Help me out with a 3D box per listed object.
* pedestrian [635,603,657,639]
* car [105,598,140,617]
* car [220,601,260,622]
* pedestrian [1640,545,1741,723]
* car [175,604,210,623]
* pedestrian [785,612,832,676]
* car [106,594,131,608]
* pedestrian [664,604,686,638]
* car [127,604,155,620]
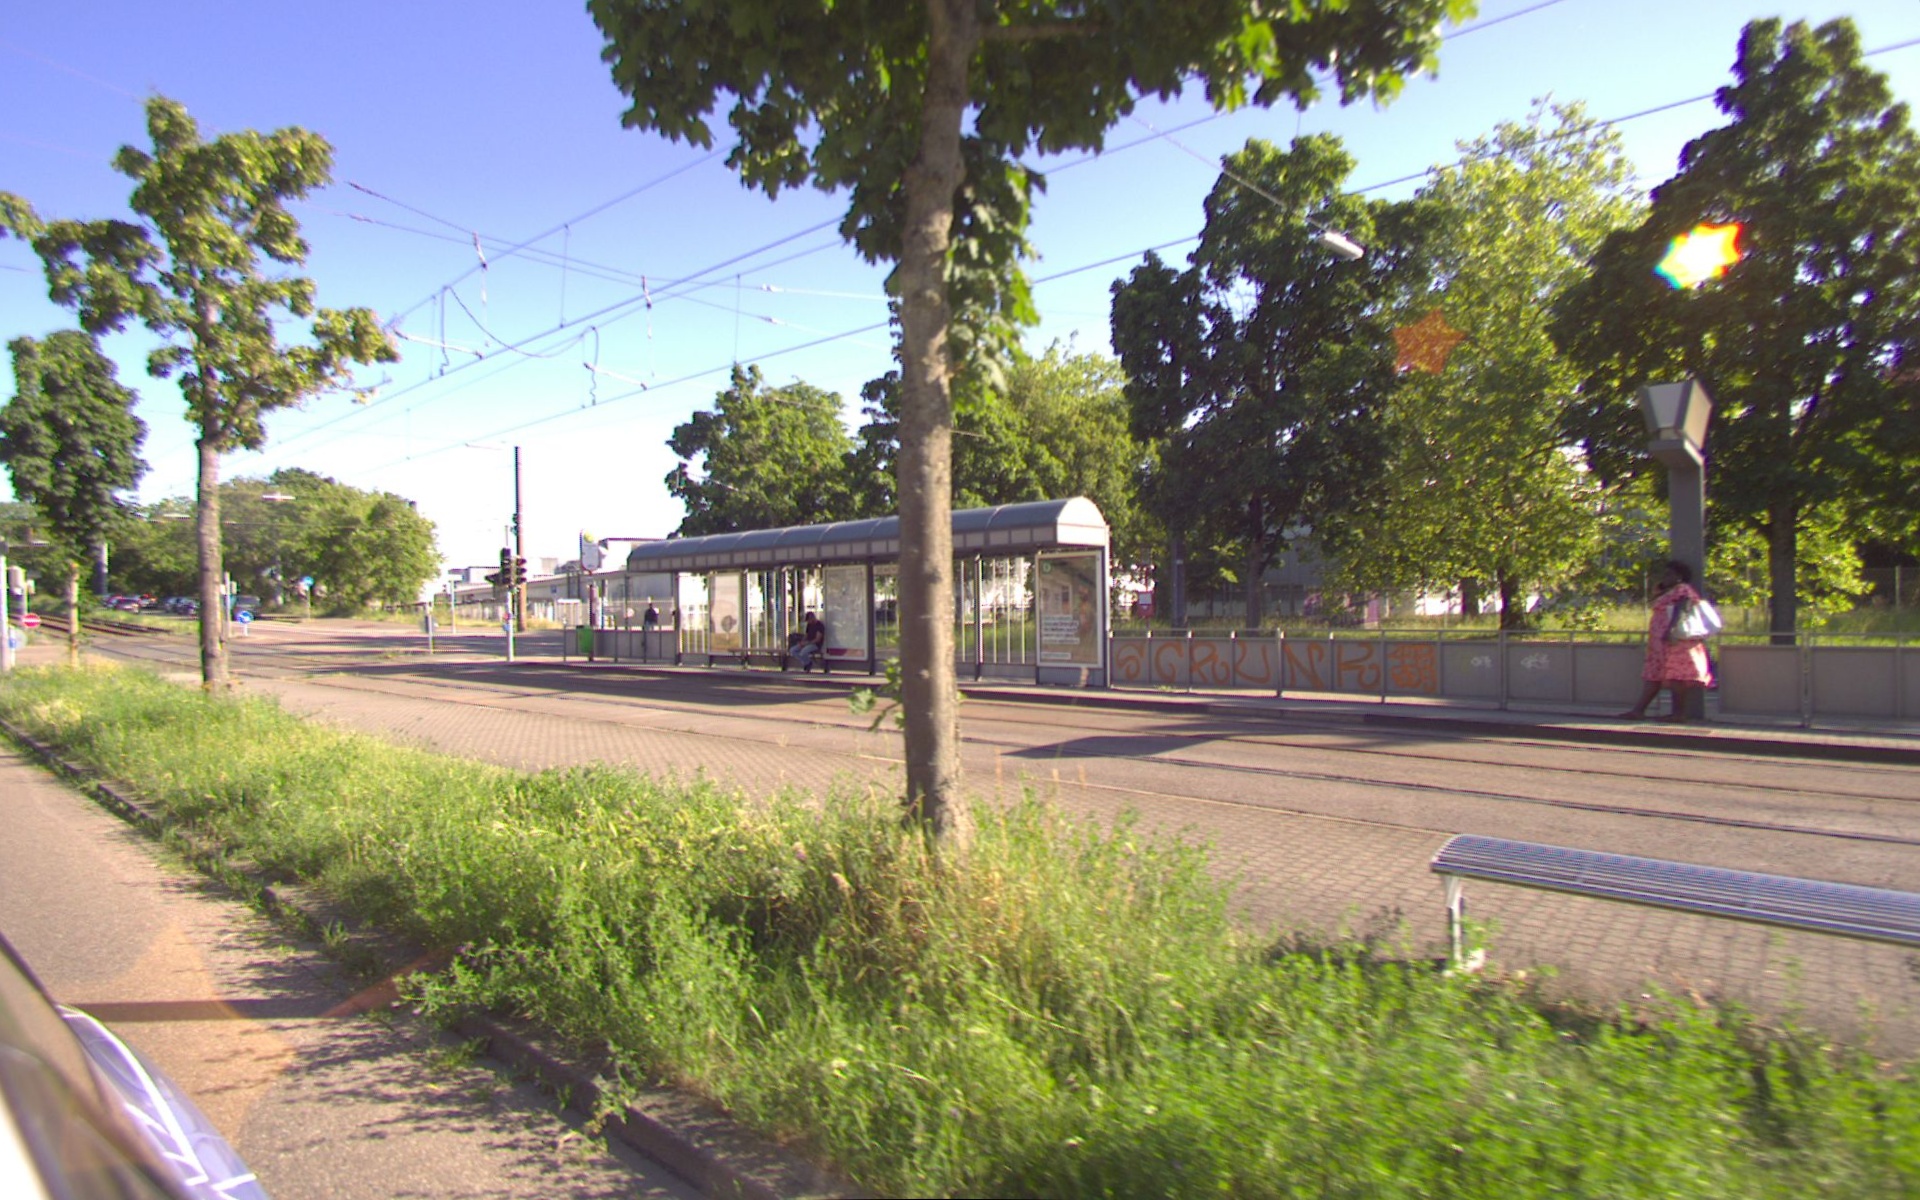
[{"bbox_3d":[-15.119,1.021,48.731,0.796,1.689,0.637,-1,0,2],"label":"pedestrian"},{"bbox_3d":[-72.297,0.674,87.354,3.453,1.597,1.680,-1,-1,40],"label":"car"},{"bbox_3d":[-56.755,0.885,79.797,3.453,1.597,1.749,-1,-1,40],"label":"car"},{"bbox_3d":[7.663,0.338,10.609,0.781,1.765,0.776,-1,0,40],"label":"pedestrian"},{"bbox_3d":[-65.526,1.142,86.371,3.453,1.597,1.680,-1,-1,40],"label":"car"},{"bbox_3d":[-3.056,0.875,20.401,0.679,1.258,0.643,-1,-3,32],"label":"pedestrian"},{"bbox_3d":[-100.072,0.104,120.290,3.453,1.597,1.680,-1,-1,40],"label":"car"},{"bbox_3d":[-13.535,1.014,48.045,0.782,1.580,0.726,-1,0,2],"label":"pedestrian"},{"bbox_3d":[-87.563,1.289,108.175,3.453,1.597,1.680,-1,-1,40],"label":"car"}]
